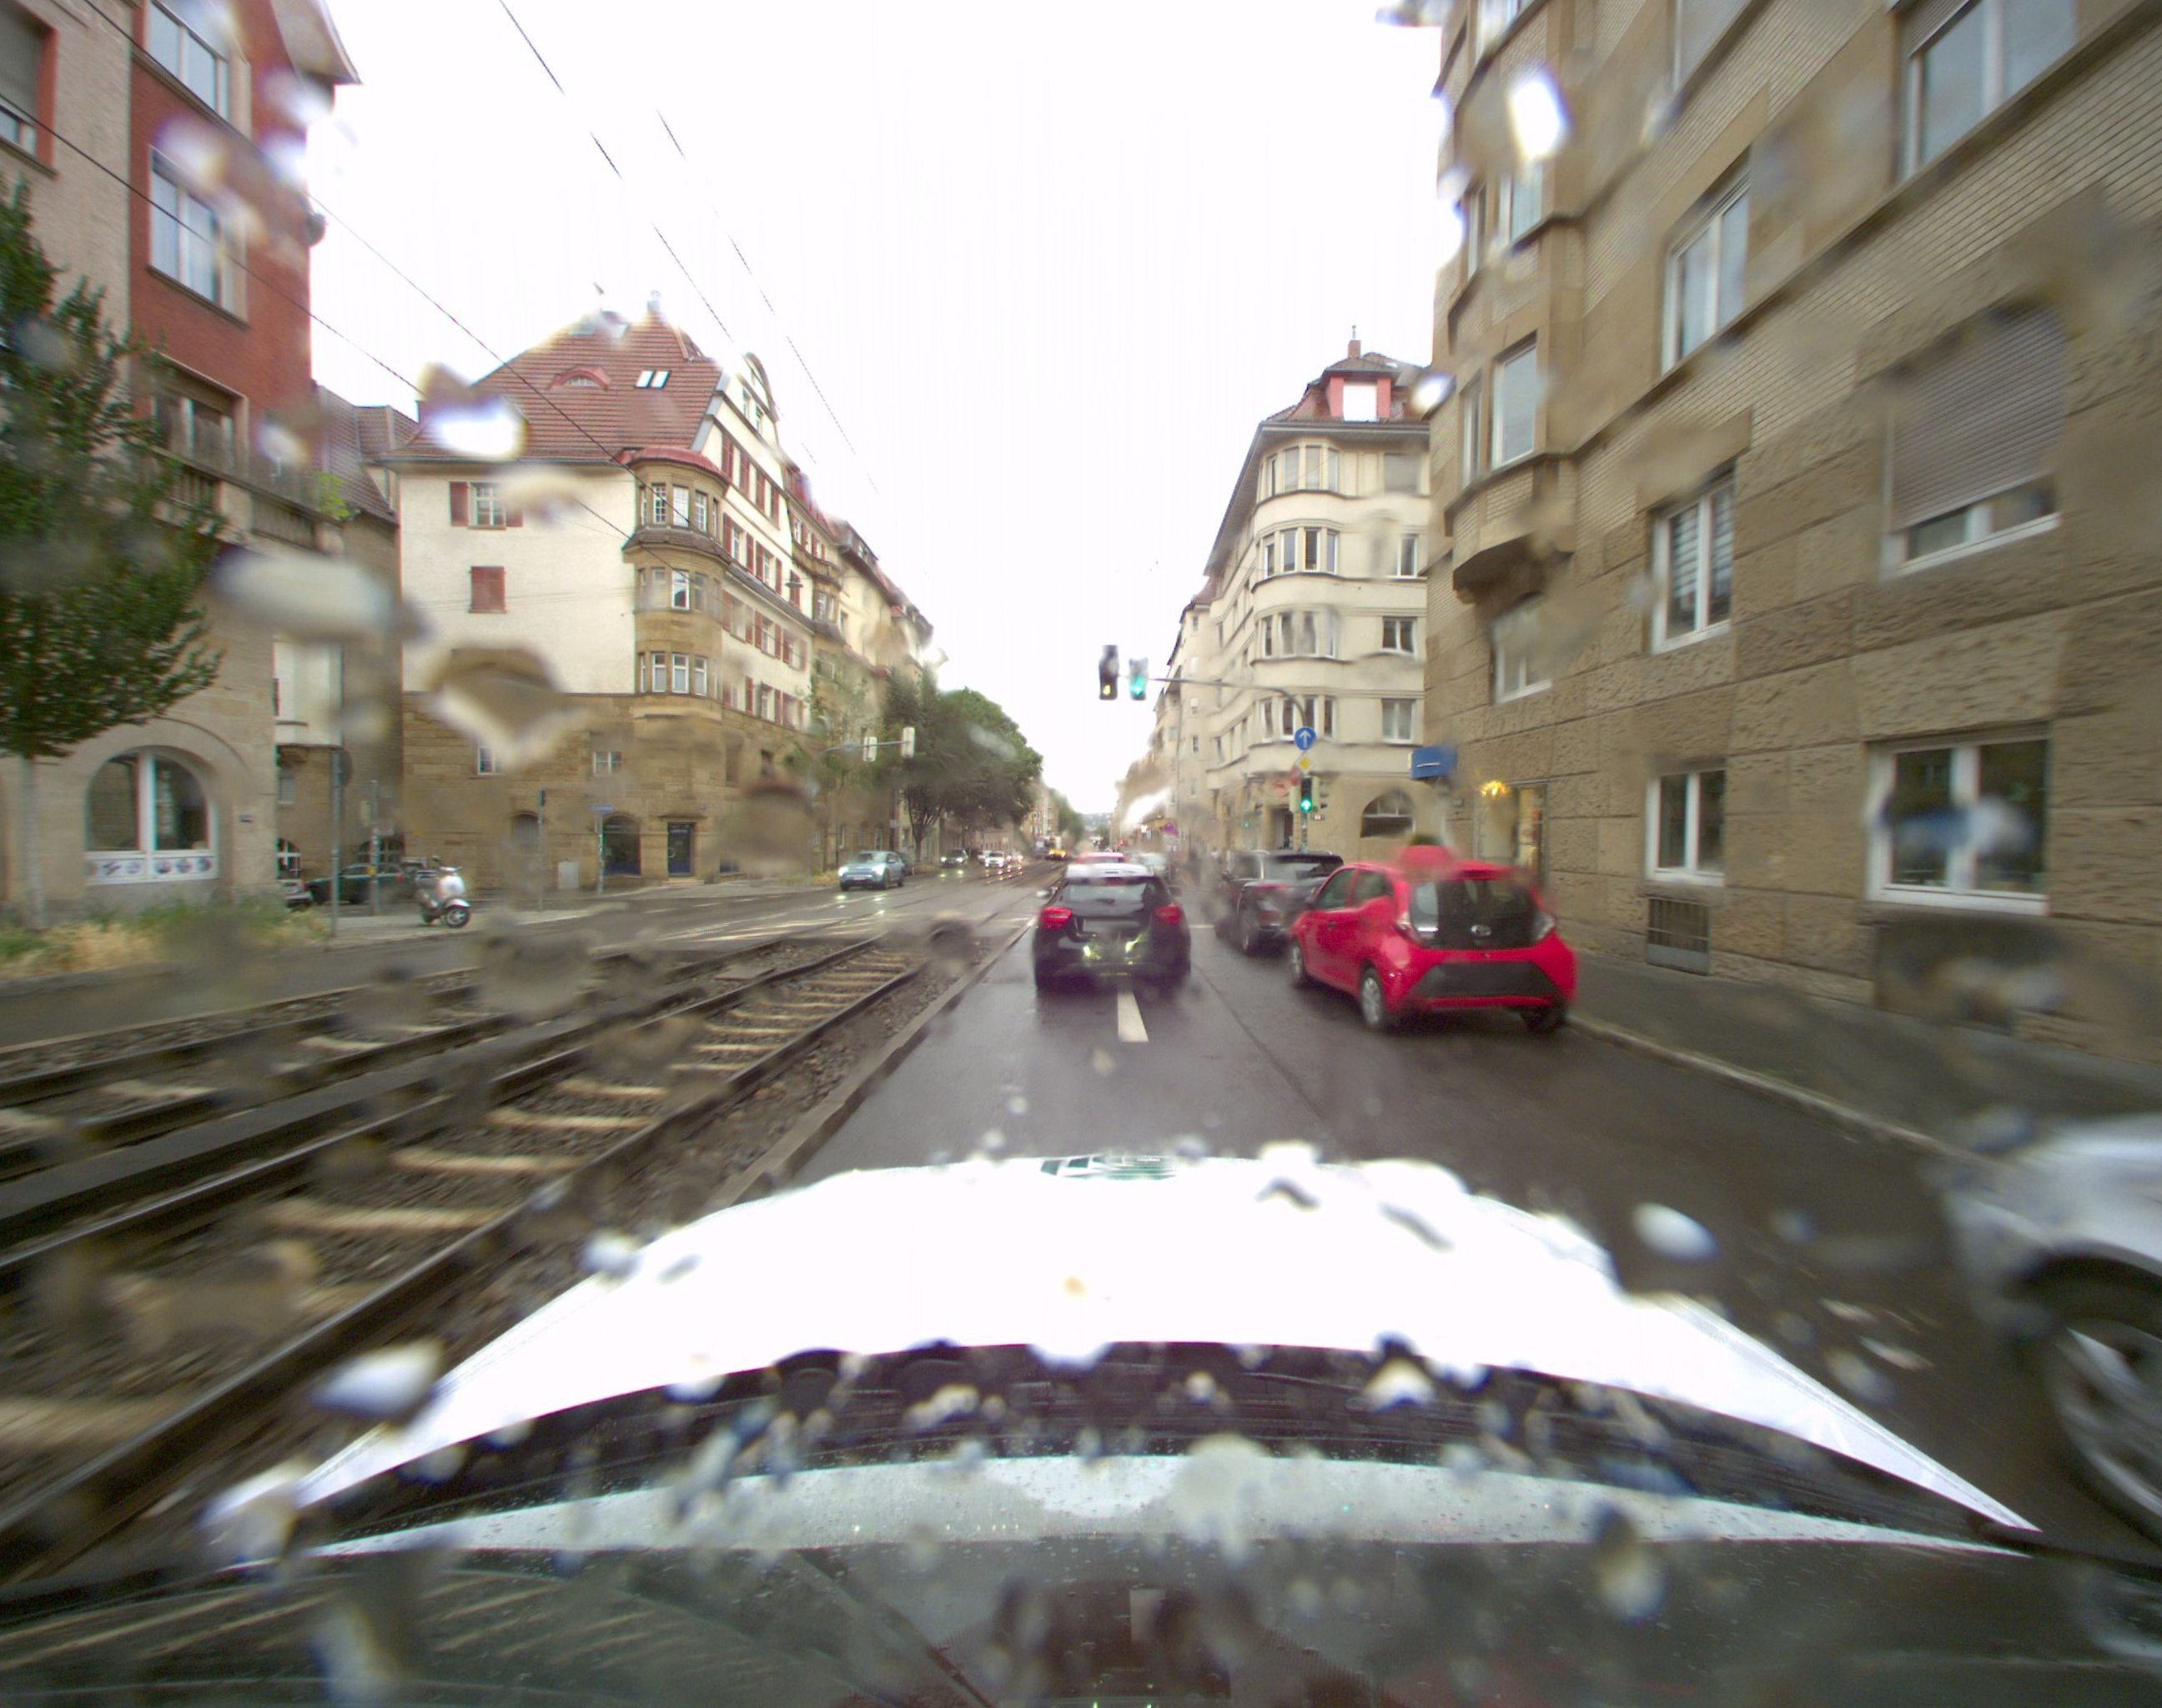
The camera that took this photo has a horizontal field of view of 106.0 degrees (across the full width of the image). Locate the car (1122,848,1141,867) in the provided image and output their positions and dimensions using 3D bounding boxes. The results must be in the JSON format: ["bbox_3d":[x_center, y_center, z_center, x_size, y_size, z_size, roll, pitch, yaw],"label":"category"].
[{"bbox_3d":[4.801,0.340,78.272,1.771,1.750,4.551,0,-1,2],"label":"car"}]

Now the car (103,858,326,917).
[{"bbox_3d":[-22.560,0.843,21.307,3.972,1.467,1.747,0,-1,1],"label":"car"}]

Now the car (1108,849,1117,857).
[{"bbox_3d":[6.634,-0.178,171.146,1.879,1.525,4.249,1,0,3],"label":"car"}]

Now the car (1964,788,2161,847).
[{"bbox_3d":[32.769,-1.189,27.191,4.344,1.569,1.978,-3,-3,-1],"label":"car"}]

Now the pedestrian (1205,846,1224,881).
[{"bbox_3d":[6.546,0.452,39.916,0.801,1.687,0.754,0,-1,1],"label":"pedestrian"}]

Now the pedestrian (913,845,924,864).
[{"bbox_3d":[-14.002,0.022,70.117,0.726,1.663,0.771,0,0,1],"label":"pedestrian"}]

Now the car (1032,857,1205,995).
[{"bbox_3d":[0.455,0.767,10.590,1.828,1.453,3.903,0,0,2],"label":"car"}]

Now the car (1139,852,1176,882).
[{"bbox_3d":[3.798,0.646,41.190,1.703,1.410,4.821,0,-1,3],"label":"car"}]

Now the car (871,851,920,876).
[{"bbox_3d":[-11.119,0.556,49.174,1.775,1.460,4.977,0,-1,0],"label":"car"}]

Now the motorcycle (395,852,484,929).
[{"bbox_3d":[-12.113,0.665,15.367,1.761,1.375,0.772,-1,-1,33],"label":"motorcycle"}]

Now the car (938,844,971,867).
[{"bbox_3d":[-10.805,0.090,69.862,1.947,1.742,4.778,3,1,0],"label":"car"}]

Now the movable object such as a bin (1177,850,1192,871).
[{"bbox_3d":[7.283,0.467,57.350,0.976,1.468,1.273,0,-1,1],"label":"movable object such as a bin"}]

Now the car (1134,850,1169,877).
[{"bbox_3d":[3.993,0.533,46.558,1.705,1.468,4.775,0,-1,2],"label":"car"}]

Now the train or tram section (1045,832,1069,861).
[{"bbox_3d":[-3.538,-1.124,123.895,2.736,4.061,17.216,0,0,1],"label":"train or tram section"}]

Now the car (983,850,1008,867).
[{"bbox_3d":[-7.754,0.424,74.104,1.775,1.502,4.062,0,-1,0],"label":"car"}]

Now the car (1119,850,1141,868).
[{"bbox_3d":[4.366,0.448,72.141,1.833,1.608,4.765,0,-1,4],"label":"car"}]

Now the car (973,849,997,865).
[{"bbox_3d":[-10.280,0.298,87.154,1.954,1.605,4.329,1,0,0],"label":"car"}]

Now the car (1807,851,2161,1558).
[{"bbox_3d":[3.044,0.740,0.804,1.588,1.487,3.524,-1,0,2],"label":"car"}]

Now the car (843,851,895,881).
[{"bbox_3d":[-11.312,0.628,43.618,1.684,1.529,4.175,0,-1,0],"label":"car"}]

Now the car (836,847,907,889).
[{"bbox_3d":[-8.649,0.575,33.980,1.915,1.617,4.128,0,-1,0],"label":"car"}]

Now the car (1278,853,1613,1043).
[{"bbox_3d":[3.254,0.733,8.066,1.700,1.453,3.531,1,0,-1],"label":"car"}]

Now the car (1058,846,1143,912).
[{"bbox_3d":[0.525,0.595,21.435,1.986,1.525,4.247,1,0,2],"label":"car"}]

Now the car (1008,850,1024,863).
[{"bbox_3d":[-7.444,0.261,93.298,1.649,1.462,3.731,-1,0,-3],"label":"car"}]

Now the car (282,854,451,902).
[{"bbox_3d":[-24.555,0.816,28.127,3.977,1.574,1.998,0,-1,-2],"label":"car"}]

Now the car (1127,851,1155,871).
[{"bbox_3d":[4.359,0.540,59.618,1.783,1.385,4.396,0,-1,1],"label":"car"}]

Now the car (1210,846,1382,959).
[{"bbox_3d":[3.315,0.672,13.341,1.860,1.549,3.992,1,0,2],"label":"car"}]
